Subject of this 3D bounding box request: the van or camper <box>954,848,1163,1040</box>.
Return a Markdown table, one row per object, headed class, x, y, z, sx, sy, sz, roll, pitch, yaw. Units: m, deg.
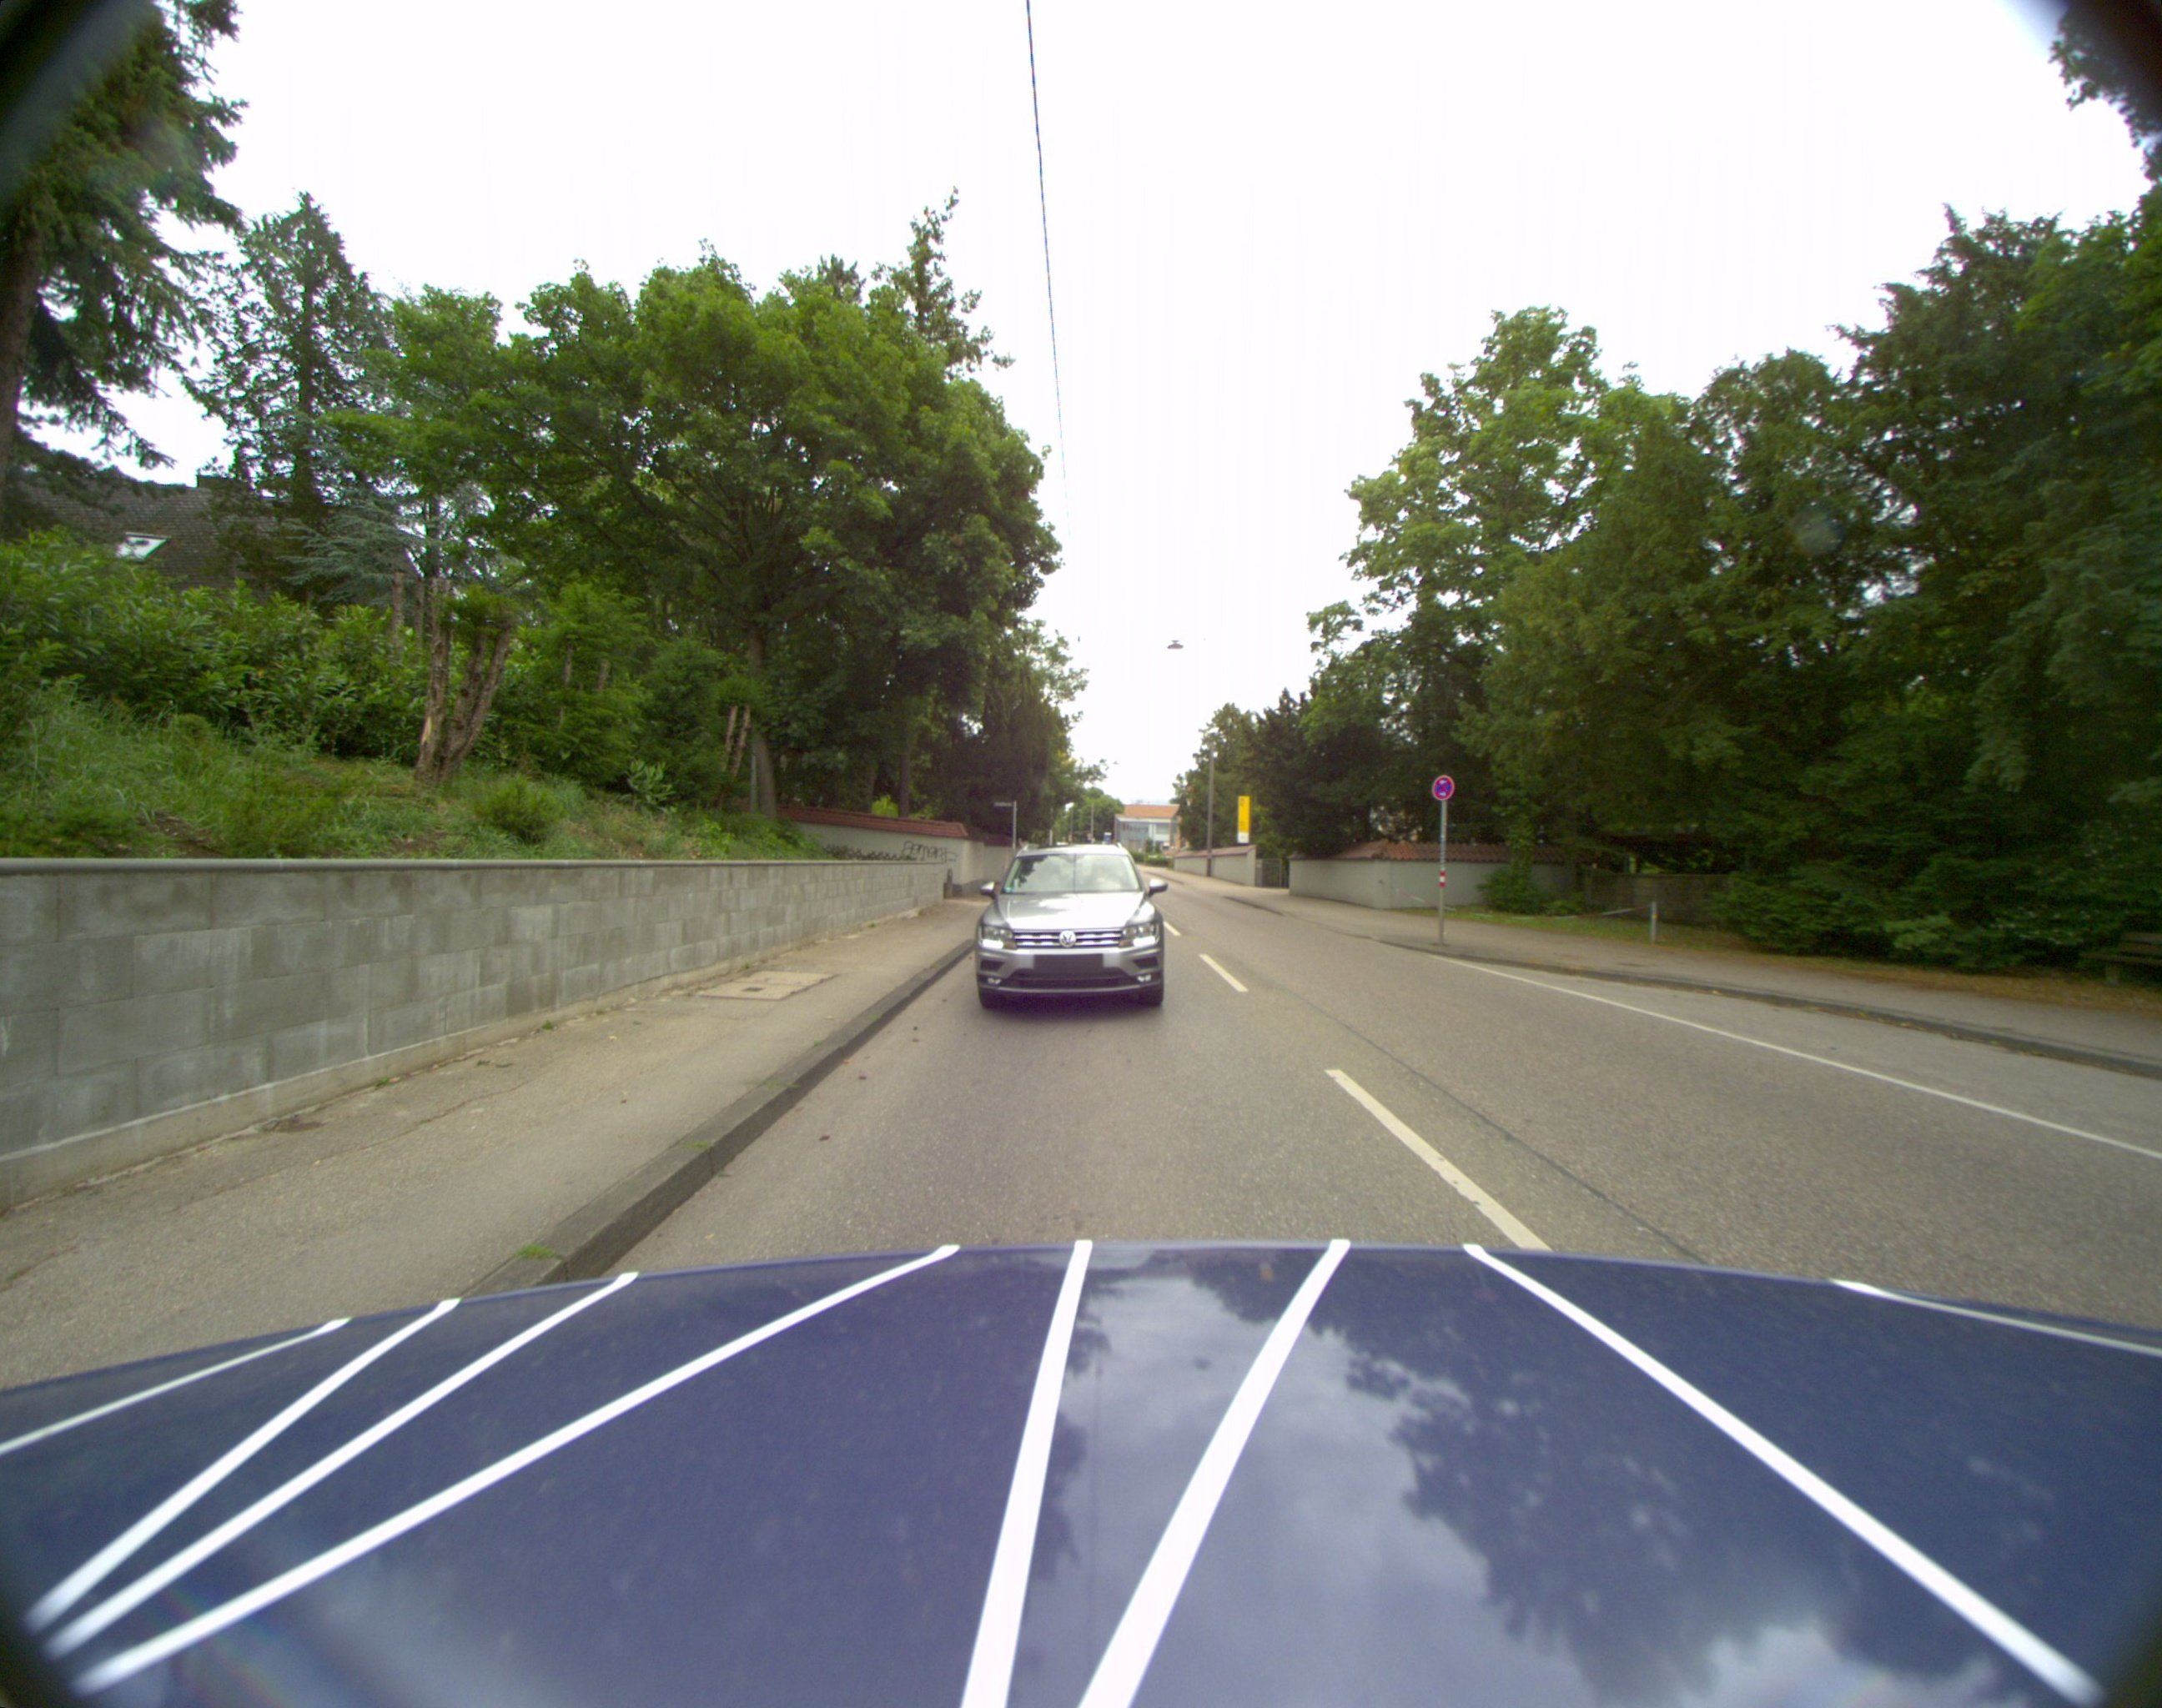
| class | x | y | z | sx | sy | sz | roll | pitch | yaw |
| --- | --- | --- | --- | --- | --- | --- | --- | --- | --- |
| van or camper | -0.169 | 0.772 | 8.700 | 1.800 | 1.663 | 4.198 | 0 | 0 | 1 |
